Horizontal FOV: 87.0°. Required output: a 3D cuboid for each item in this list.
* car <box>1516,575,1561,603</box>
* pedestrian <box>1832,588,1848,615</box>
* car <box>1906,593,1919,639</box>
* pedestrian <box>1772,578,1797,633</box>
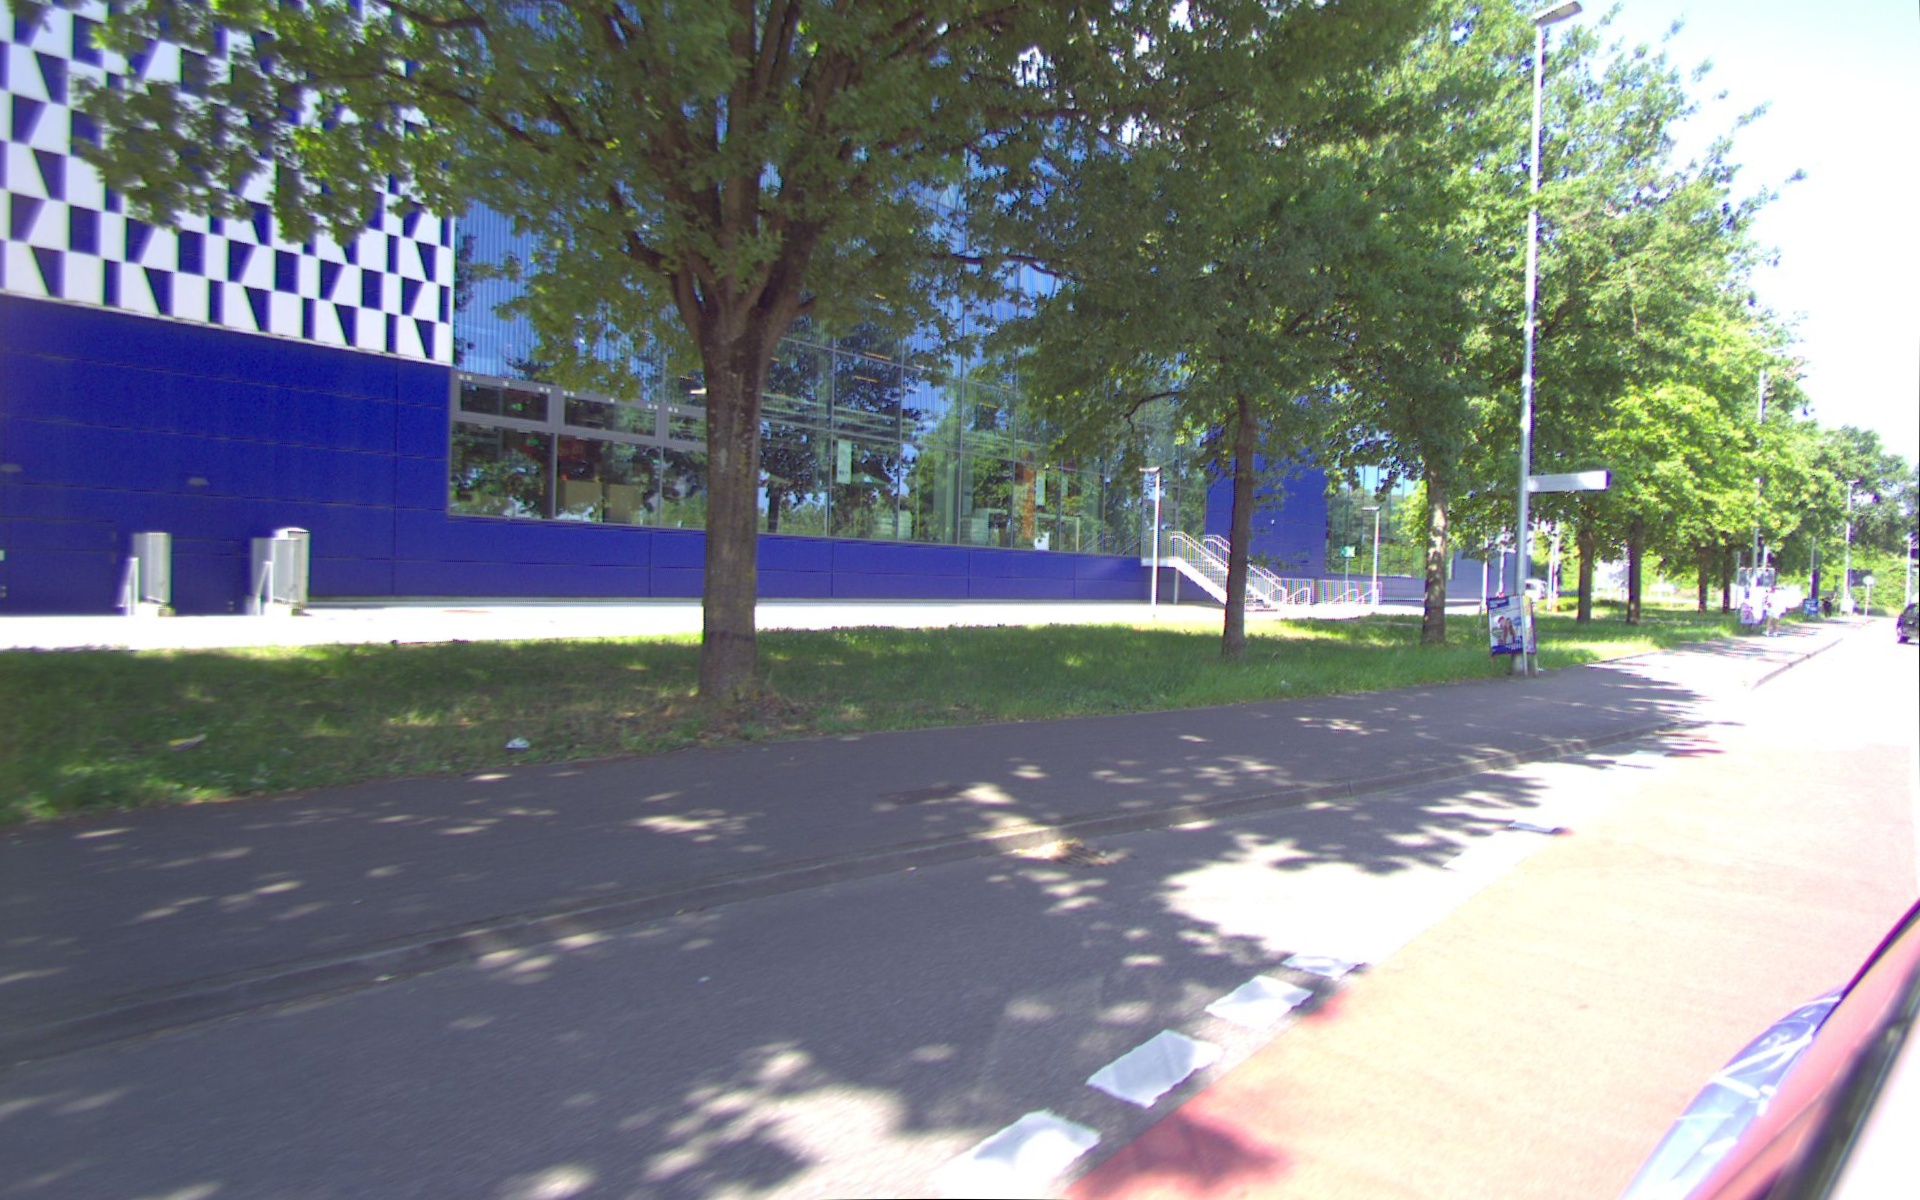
[{"bbox_3d":[39.859,-0.764,69.701,1.904,1.851,4.118,3,2,41],"label":"car"},{"bbox_3d":[53.829,0.094,61.894,0.833,1.623,0.647,0,2,-45],"label":"pedestrian"},{"bbox_3d":[33.275,0.593,33.670,1.899,1.539,4.321,2,2,34],"label":"car"},{"bbox_3d":[28.639,0.172,35.146,0.535,1.864,0.716,3,2,45],"label":"pedestrian"}]
